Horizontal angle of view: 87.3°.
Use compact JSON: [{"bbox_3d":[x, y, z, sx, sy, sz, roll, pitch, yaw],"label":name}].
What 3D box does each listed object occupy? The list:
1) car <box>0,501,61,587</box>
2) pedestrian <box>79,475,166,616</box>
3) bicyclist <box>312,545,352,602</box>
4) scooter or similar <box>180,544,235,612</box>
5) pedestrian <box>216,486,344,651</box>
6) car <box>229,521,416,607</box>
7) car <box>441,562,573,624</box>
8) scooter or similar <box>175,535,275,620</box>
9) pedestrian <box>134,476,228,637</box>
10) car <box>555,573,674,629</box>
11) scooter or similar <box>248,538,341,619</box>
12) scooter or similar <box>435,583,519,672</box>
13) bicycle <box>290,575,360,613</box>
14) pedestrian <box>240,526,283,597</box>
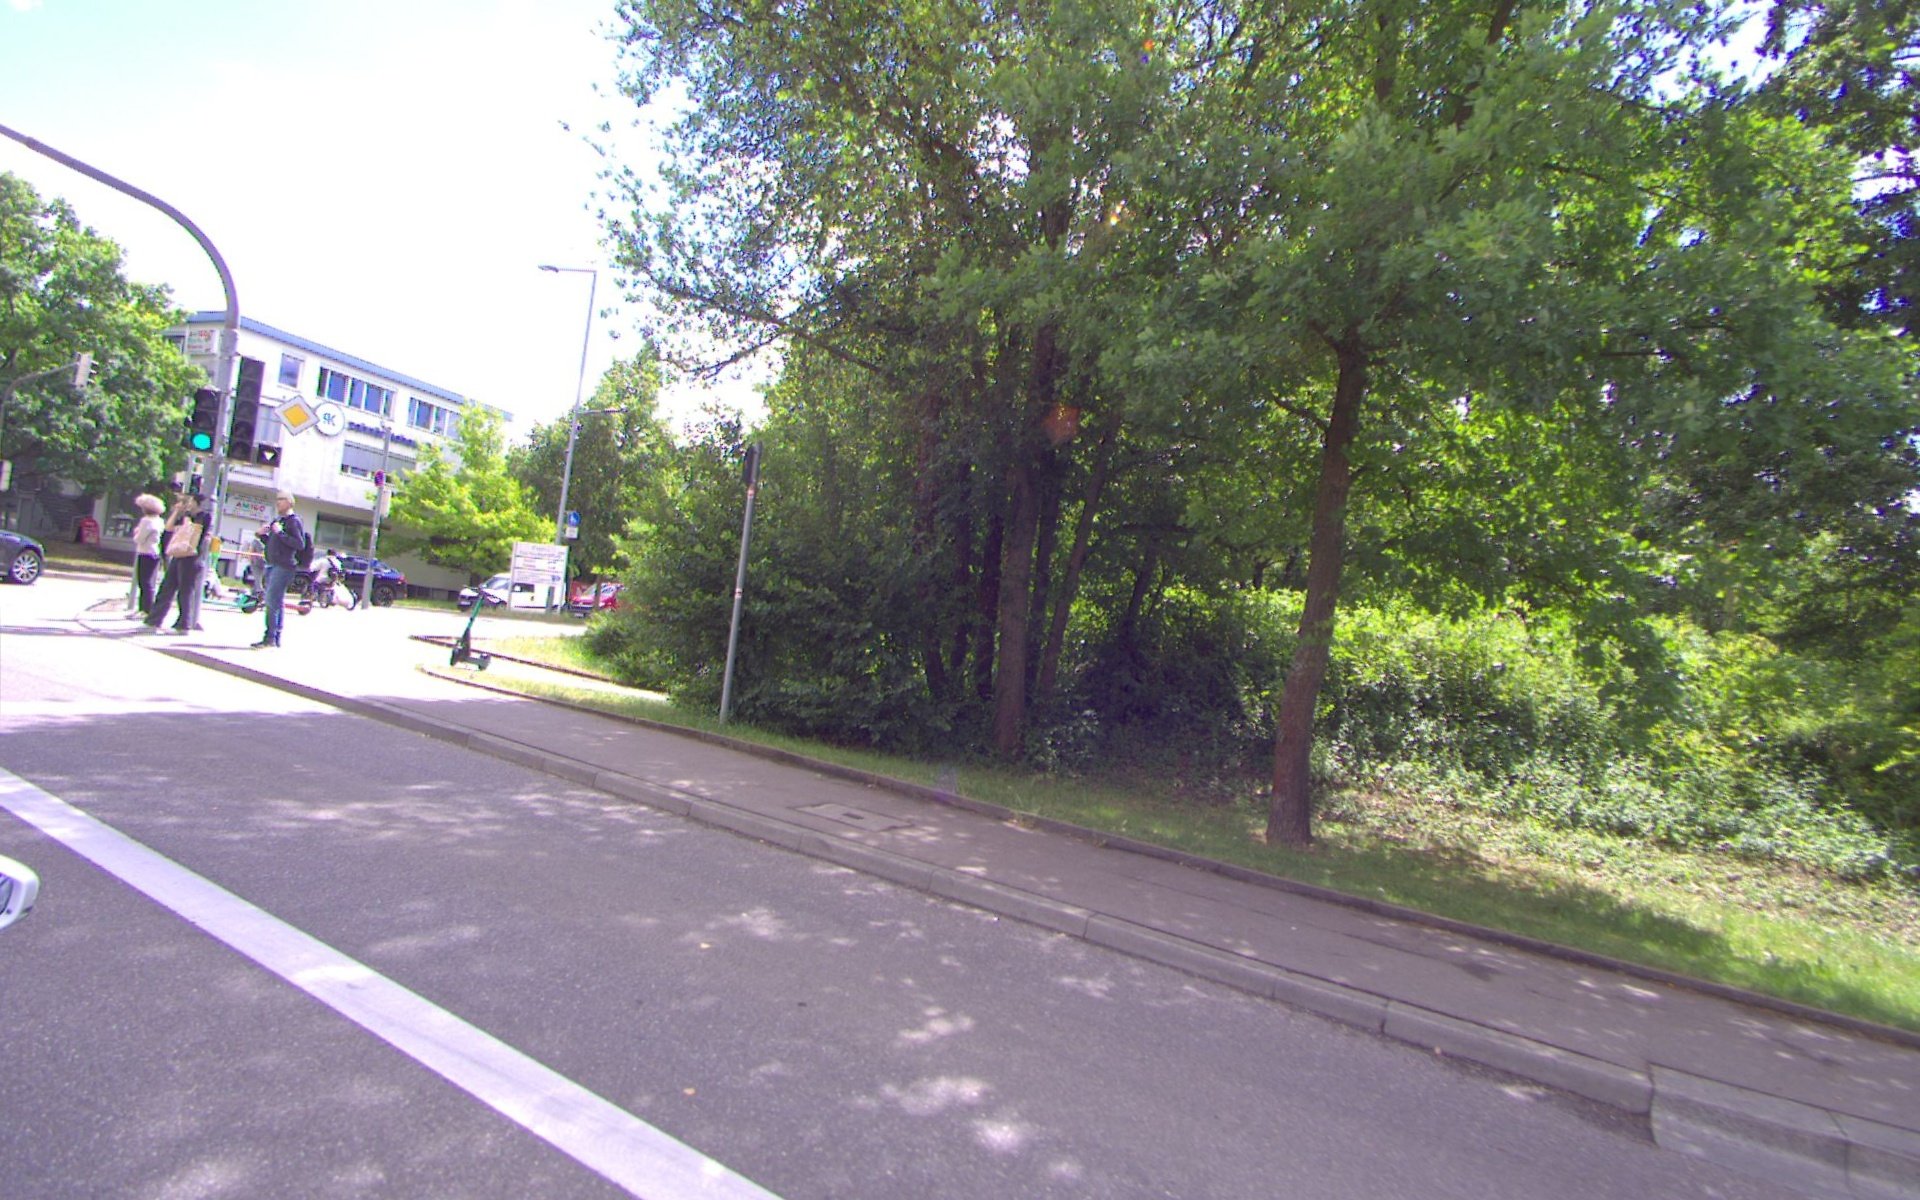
[{"bbox_3d":[-17.275,-1.101,16.242,1.875,1.438,4.532,8,-2,-10],"label":"car"},{"bbox_3d":[-11.241,-0.727,13.511,0.510,1.787,0.636,7,0,38],"label":"pedestrian"},{"bbox_3d":[-13.775,-0.579,22.069,0.393,1.170,0.502,7,0,28],"label":"bicyclist"},{"bbox_3d":[-13.508,-0.404,18.052,0.546,1.076,1.246,8,-1,-44],"label":"scooter or similar"},{"bbox_3d":[-8.506,-0.383,12.591,0.996,1.898,0.796,7,0,31],"label":"pedestrian"},{"bbox_3d":[-20.294,-1.087,32.284,1.964,2.036,4.551,7,-2,25],"label":"car"},{"bbox_3d":[-17.609,-0.226,39.374,1.964,1.784,4.387,7,-2,23],"label":"car"},{"bbox_3d":[-12.226,-0.366,16.755,0.531,1.249,1.111,7,-1,34],"label":"scooter or similar"},{"bbox_3d":[-9.732,-0.538,12.569,0.510,1.898,0.636,7,0,38],"label":"pedestrian"},{"bbox_3d":[-15.259,0.107,44.712,1.964,1.820,4.978,7,-2,25],"label":"car"},{"bbox_3d":[-12.168,-0.378,18.409,0.546,1.286,1.152,7,-2,34],"label":"scooter or similar"},{"bbox_3d":[-7.610,0.446,15.886,0.447,1.242,0.893,7,-5,32],"label":"scooter or similar"},{"bbox_3d":[-13.977,-0.135,22.125,1.563,0.617,0.534,7,-1,27],"label":"bicycle"},{"bbox_3d":[-17.854,-0.979,25.724,0.653,1.732,0.458,9,-2,-32],"label":"pedestrian"}]
